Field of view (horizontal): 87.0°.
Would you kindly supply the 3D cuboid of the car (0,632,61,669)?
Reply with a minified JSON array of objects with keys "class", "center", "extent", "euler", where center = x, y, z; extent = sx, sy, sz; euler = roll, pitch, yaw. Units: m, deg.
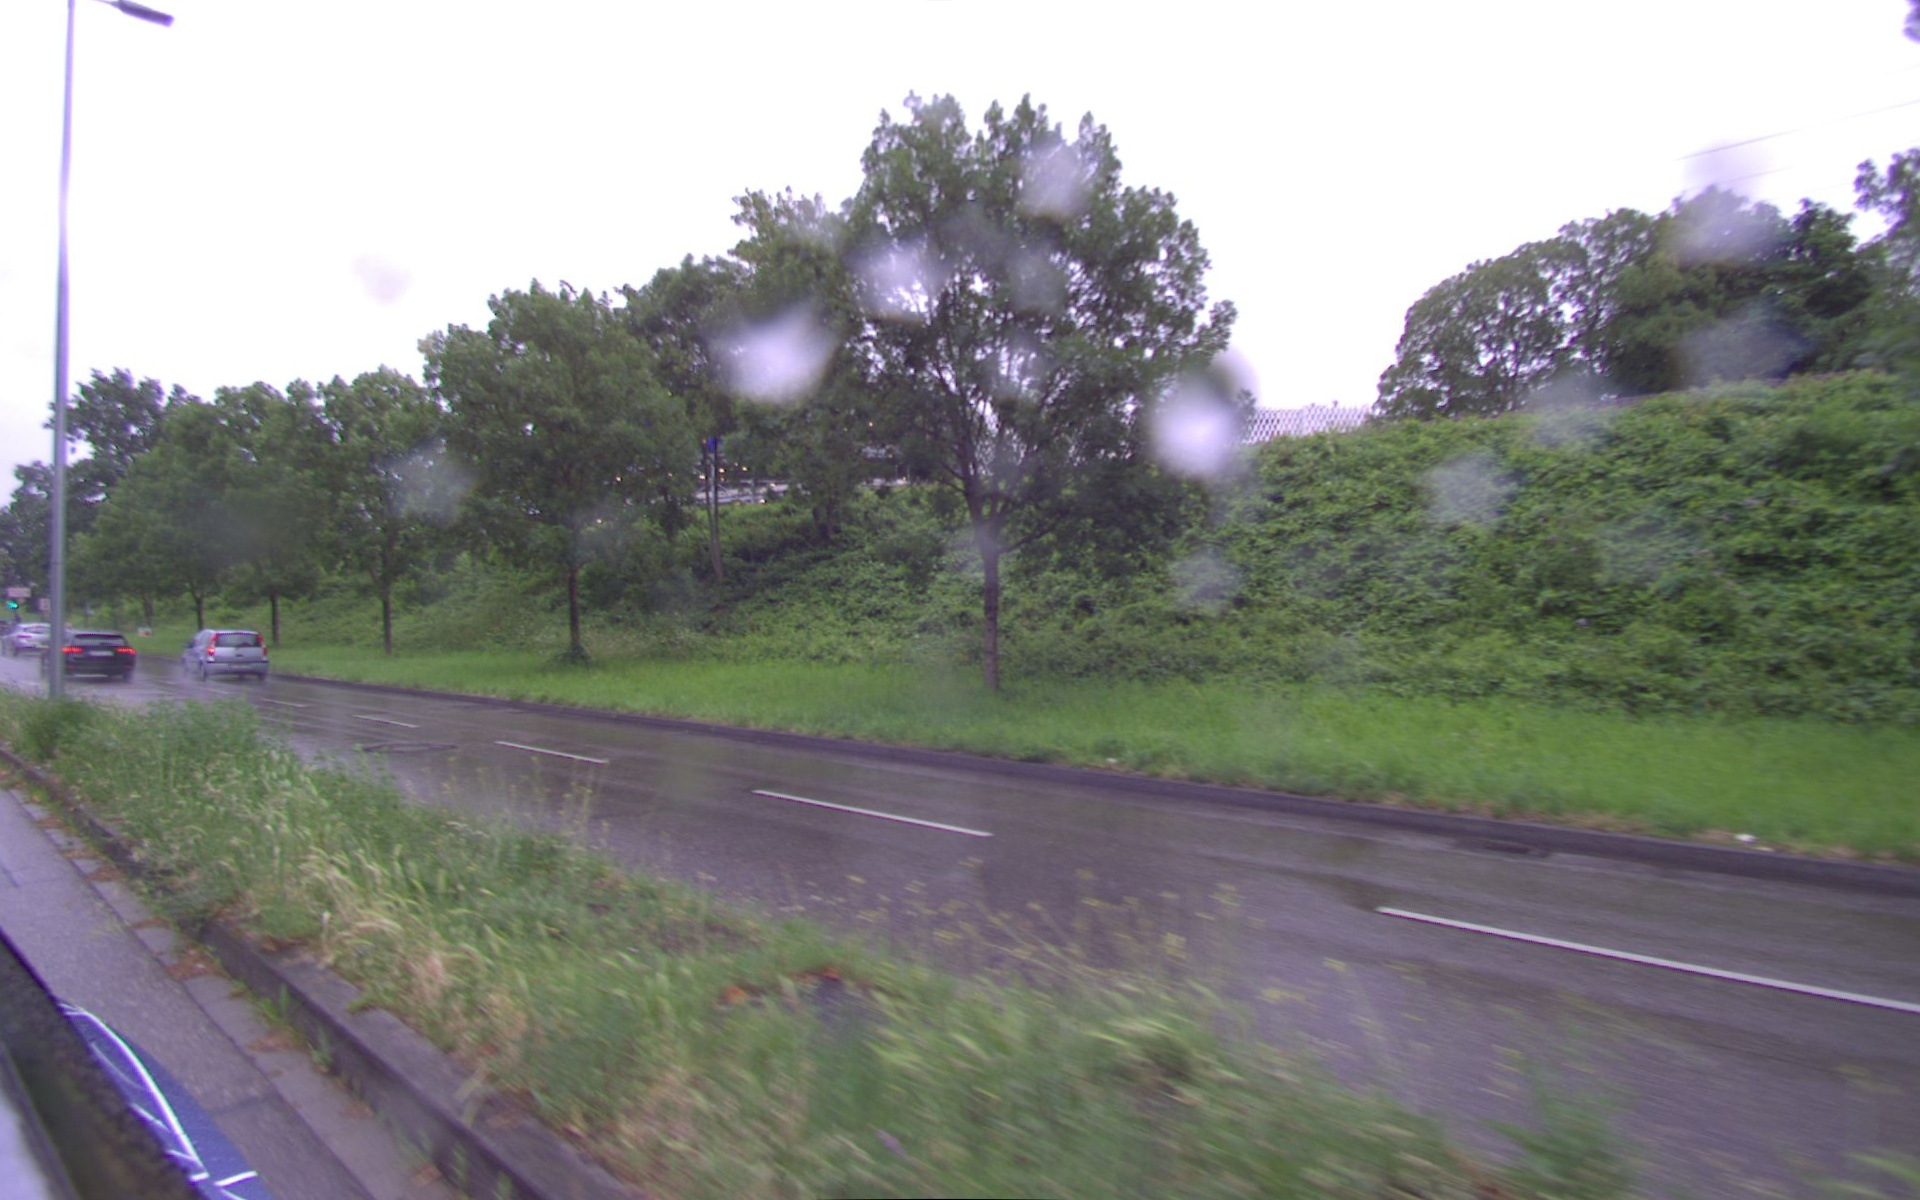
[{"class":"car","center":[-43.518,2.325,47.151],"extent":[4.708,1.586,1.888],"euler":[-1,-5,43]}]

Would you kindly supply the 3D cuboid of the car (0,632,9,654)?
[{"class":"car","center":[-75.014,3.294,78.069],"extent":[4.708,1.700,1.972],"euler":[-1,-3,43]}]

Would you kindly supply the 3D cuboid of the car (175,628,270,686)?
[{"class":"car","center":[-22.669,1.693,31.072],"extent":[3.847,1.630,1.677],"euler":[-1,-1,43]}]

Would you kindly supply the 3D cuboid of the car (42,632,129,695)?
[{"class":"car","center":[-25.257,1.788,29.170],"extent":[1.700,1.630,4.350],"euler":[3,-3,-43]}]
